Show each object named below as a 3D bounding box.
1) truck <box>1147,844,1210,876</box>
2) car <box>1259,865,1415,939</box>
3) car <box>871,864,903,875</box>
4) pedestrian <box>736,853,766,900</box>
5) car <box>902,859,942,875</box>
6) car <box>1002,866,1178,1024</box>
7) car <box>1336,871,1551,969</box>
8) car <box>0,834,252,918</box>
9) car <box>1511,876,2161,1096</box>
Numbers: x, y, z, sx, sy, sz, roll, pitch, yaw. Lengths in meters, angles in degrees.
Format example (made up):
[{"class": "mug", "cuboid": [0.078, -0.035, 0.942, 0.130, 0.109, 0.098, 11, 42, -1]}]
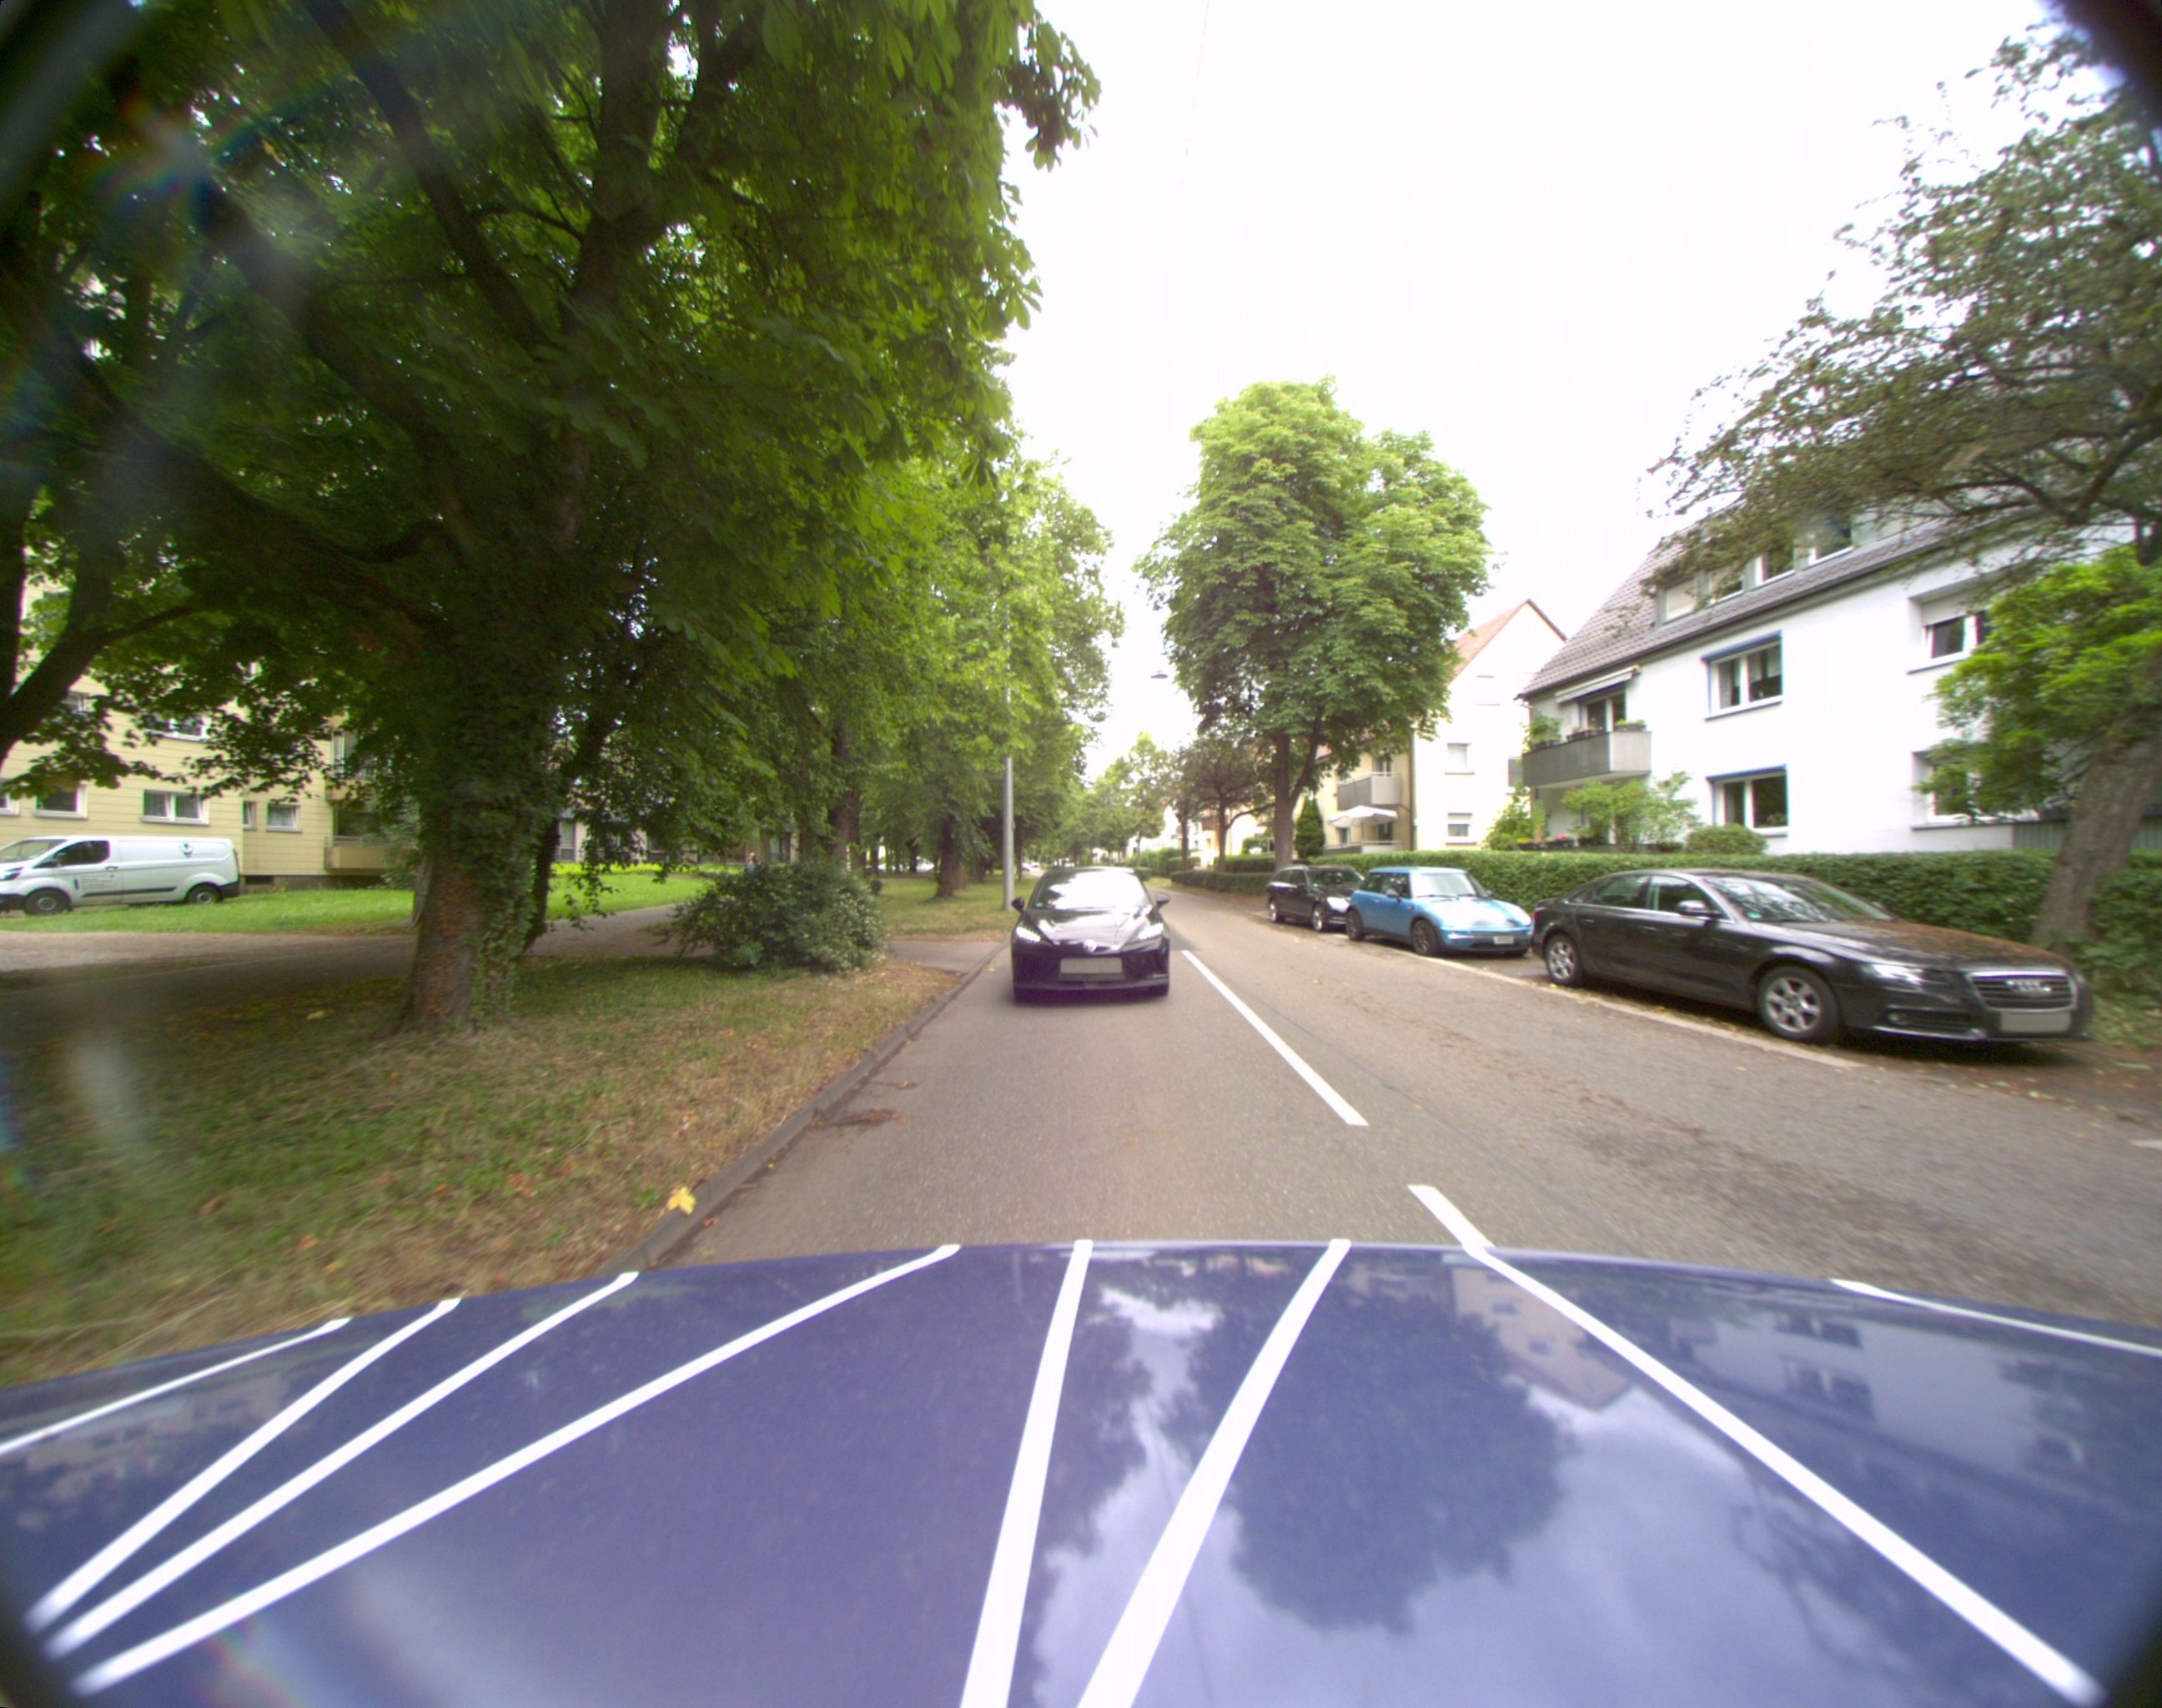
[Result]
[{"class": "truck", "cuboid": [9.764, 0.554, 76.288, 5.814, 3.112, 2.516, -1, 0, -7]}, {"class": "car", "cuboid": [5.746, 1.021, 17.713, 1.800, 1.463, 4.416, 1, 0, -6]}, {"class": "car", "cuboid": [-27.728, 2.178, 108.616, 1.795, 1.501, 4.009, -1, -1, 45]}, {"class": "pedestrian", "cuboid": [-12.150, 0.817, 27.986, 0.770, 1.676, 0.814, 1, 0, -4]}, {"class": "car", "cuboid": [-23.597, 1.881, 112.683, 5.337, 2.285, 2.286, 1, -1, -39]}, {"class": "car", "cuboid": [0.105, 0.984, 10.145, 1.799, 1.552, 4.471, -1, 0, 0]}, {"class": "car", "cuboid": [6.007, 1.024, 13.099, 1.669, 1.383, 3.705, 1, 0, -5]}, {"class": "car", "cuboid": [-24.684, 0.536, 19.040, 2.090, 1.831, 4.971, 1, -2, 5]}, {"class": "car", "cuboid": [6.547, 0.971, 7.523, 1.799, 1.402, 4.644, 0, 0, -2]}]
